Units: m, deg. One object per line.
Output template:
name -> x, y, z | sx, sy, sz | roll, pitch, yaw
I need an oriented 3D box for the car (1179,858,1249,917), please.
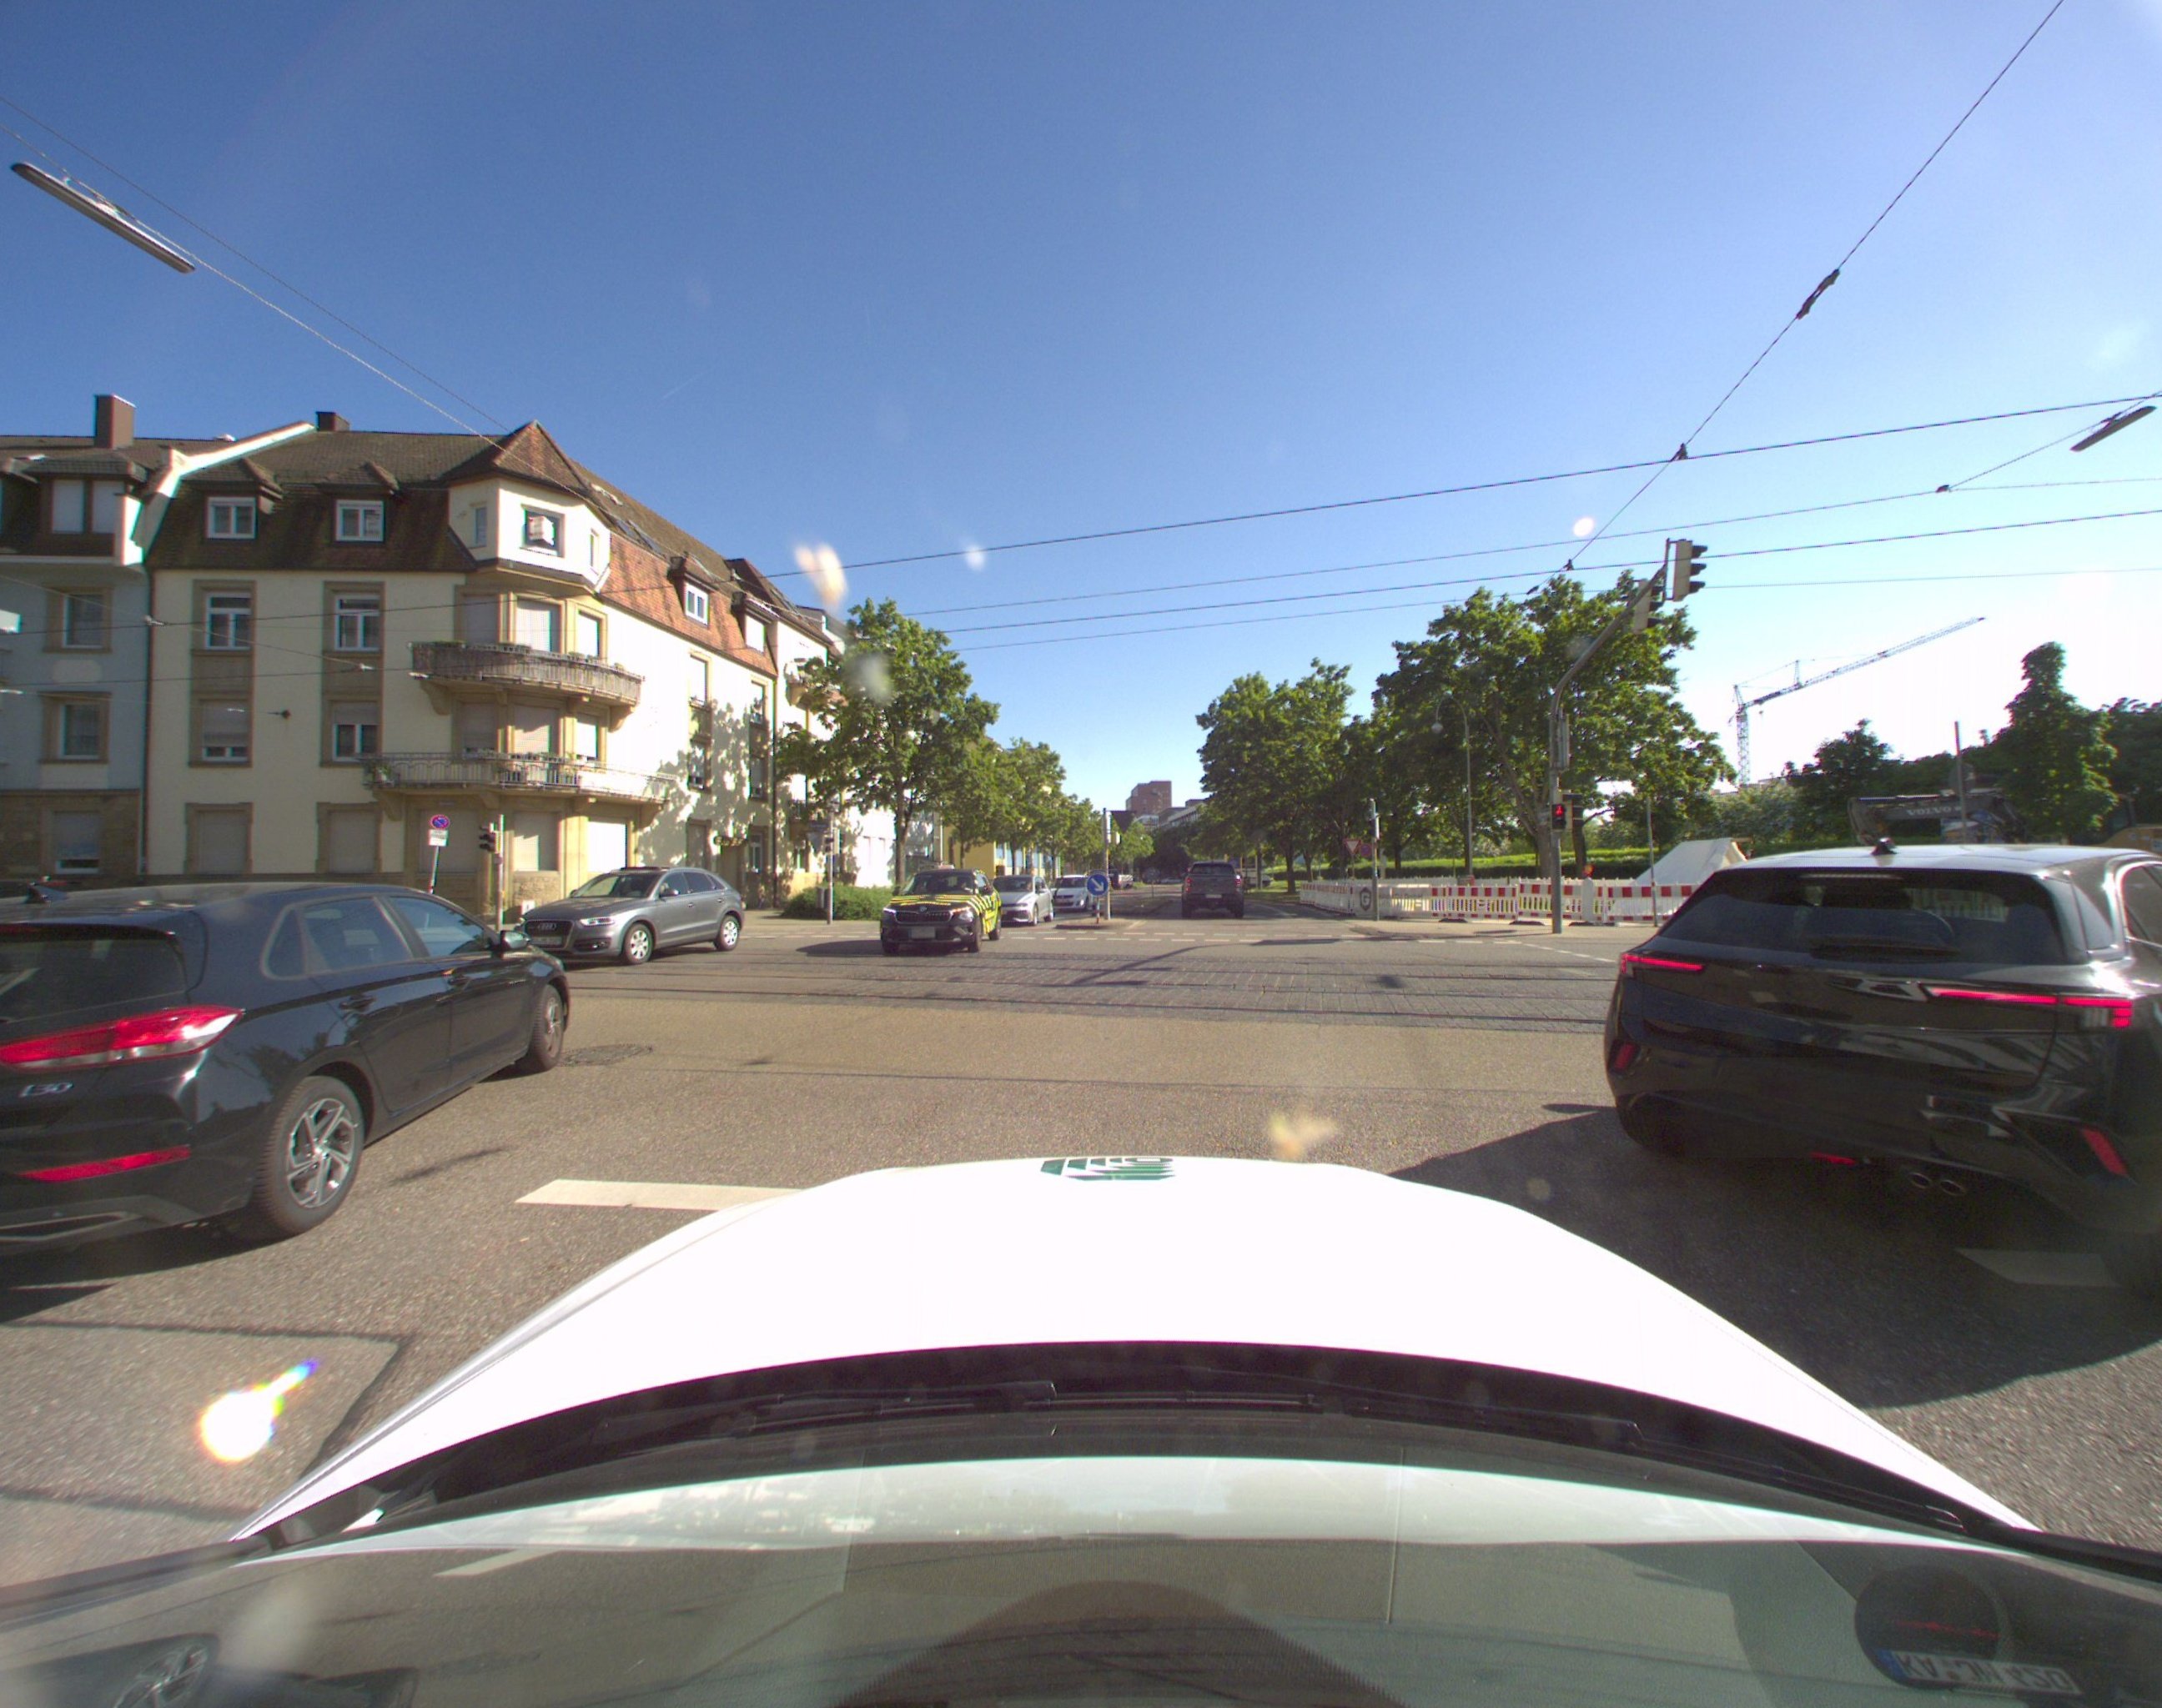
car -> 4.542, 1.101, 28.006 | 2.120, 1.836, 4.952 | -1, -1, 9

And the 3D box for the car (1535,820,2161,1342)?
car -> 4.278, 0.690, 4.085 | 3.765, 1.517, 1.771 | 1, -2, -29

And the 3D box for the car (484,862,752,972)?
car -> -7.702, 0.972, 14.108 | 1.874, 1.610, 4.156 | -1, -1, 8

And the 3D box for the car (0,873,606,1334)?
car -> -4.371, 0.874, 4.613 | 1.804, 1.451, 4.303 | -2, -1, -15

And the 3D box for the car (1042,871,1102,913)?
car -> -0.294, 1.508, 33.250 | 1.694, 1.513, 3.873 | -3, -2, 10

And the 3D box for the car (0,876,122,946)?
car -> -29.000, 1.509, 21.808 | 4.149, 1.724, 1.961 | -1, 0, -2

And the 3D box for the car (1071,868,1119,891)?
car -> 1.635, 2.930, 94.801 | 5.273, 2.546, 1.974 | -1, -2, -17

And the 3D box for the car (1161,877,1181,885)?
car -> 19.109, 5.683, 173.286 | 3.935, 1.397, 1.515 | -3, -2, -1

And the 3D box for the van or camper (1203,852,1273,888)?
van or camper -> 14.519, 1.498, 75.722 | 6.046, 2.929, 2.580 | -3, -2, 7

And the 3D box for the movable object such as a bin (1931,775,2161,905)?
movable object such as a bin -> 27.457, -0.316, 22.523 | 4.670, 3.364, 2.840 | 0, -2, 7

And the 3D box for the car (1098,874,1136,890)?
car -> 5.026, 3.841, 112.770 | 4.910, 2.083, 1.968 | 0, -2, -27

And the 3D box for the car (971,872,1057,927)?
car -> -1.865, 1.257, 23.810 | 1.698, 1.452, 3.858 | -1, -1, 7

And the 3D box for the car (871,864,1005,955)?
car -> -2.628, 0.982, 15.883 | 1.781, 1.514, 4.116 | -1, -1, 1

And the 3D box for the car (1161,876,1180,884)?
car -> 19.746, 5.758, 180.506 | 3.935, 1.397, 1.515 | -3, -2, -1

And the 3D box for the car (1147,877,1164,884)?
car -> 18.057, 6.343, 197.397 | 3.935, 1.397, 1.515 | -3, -2, -1
